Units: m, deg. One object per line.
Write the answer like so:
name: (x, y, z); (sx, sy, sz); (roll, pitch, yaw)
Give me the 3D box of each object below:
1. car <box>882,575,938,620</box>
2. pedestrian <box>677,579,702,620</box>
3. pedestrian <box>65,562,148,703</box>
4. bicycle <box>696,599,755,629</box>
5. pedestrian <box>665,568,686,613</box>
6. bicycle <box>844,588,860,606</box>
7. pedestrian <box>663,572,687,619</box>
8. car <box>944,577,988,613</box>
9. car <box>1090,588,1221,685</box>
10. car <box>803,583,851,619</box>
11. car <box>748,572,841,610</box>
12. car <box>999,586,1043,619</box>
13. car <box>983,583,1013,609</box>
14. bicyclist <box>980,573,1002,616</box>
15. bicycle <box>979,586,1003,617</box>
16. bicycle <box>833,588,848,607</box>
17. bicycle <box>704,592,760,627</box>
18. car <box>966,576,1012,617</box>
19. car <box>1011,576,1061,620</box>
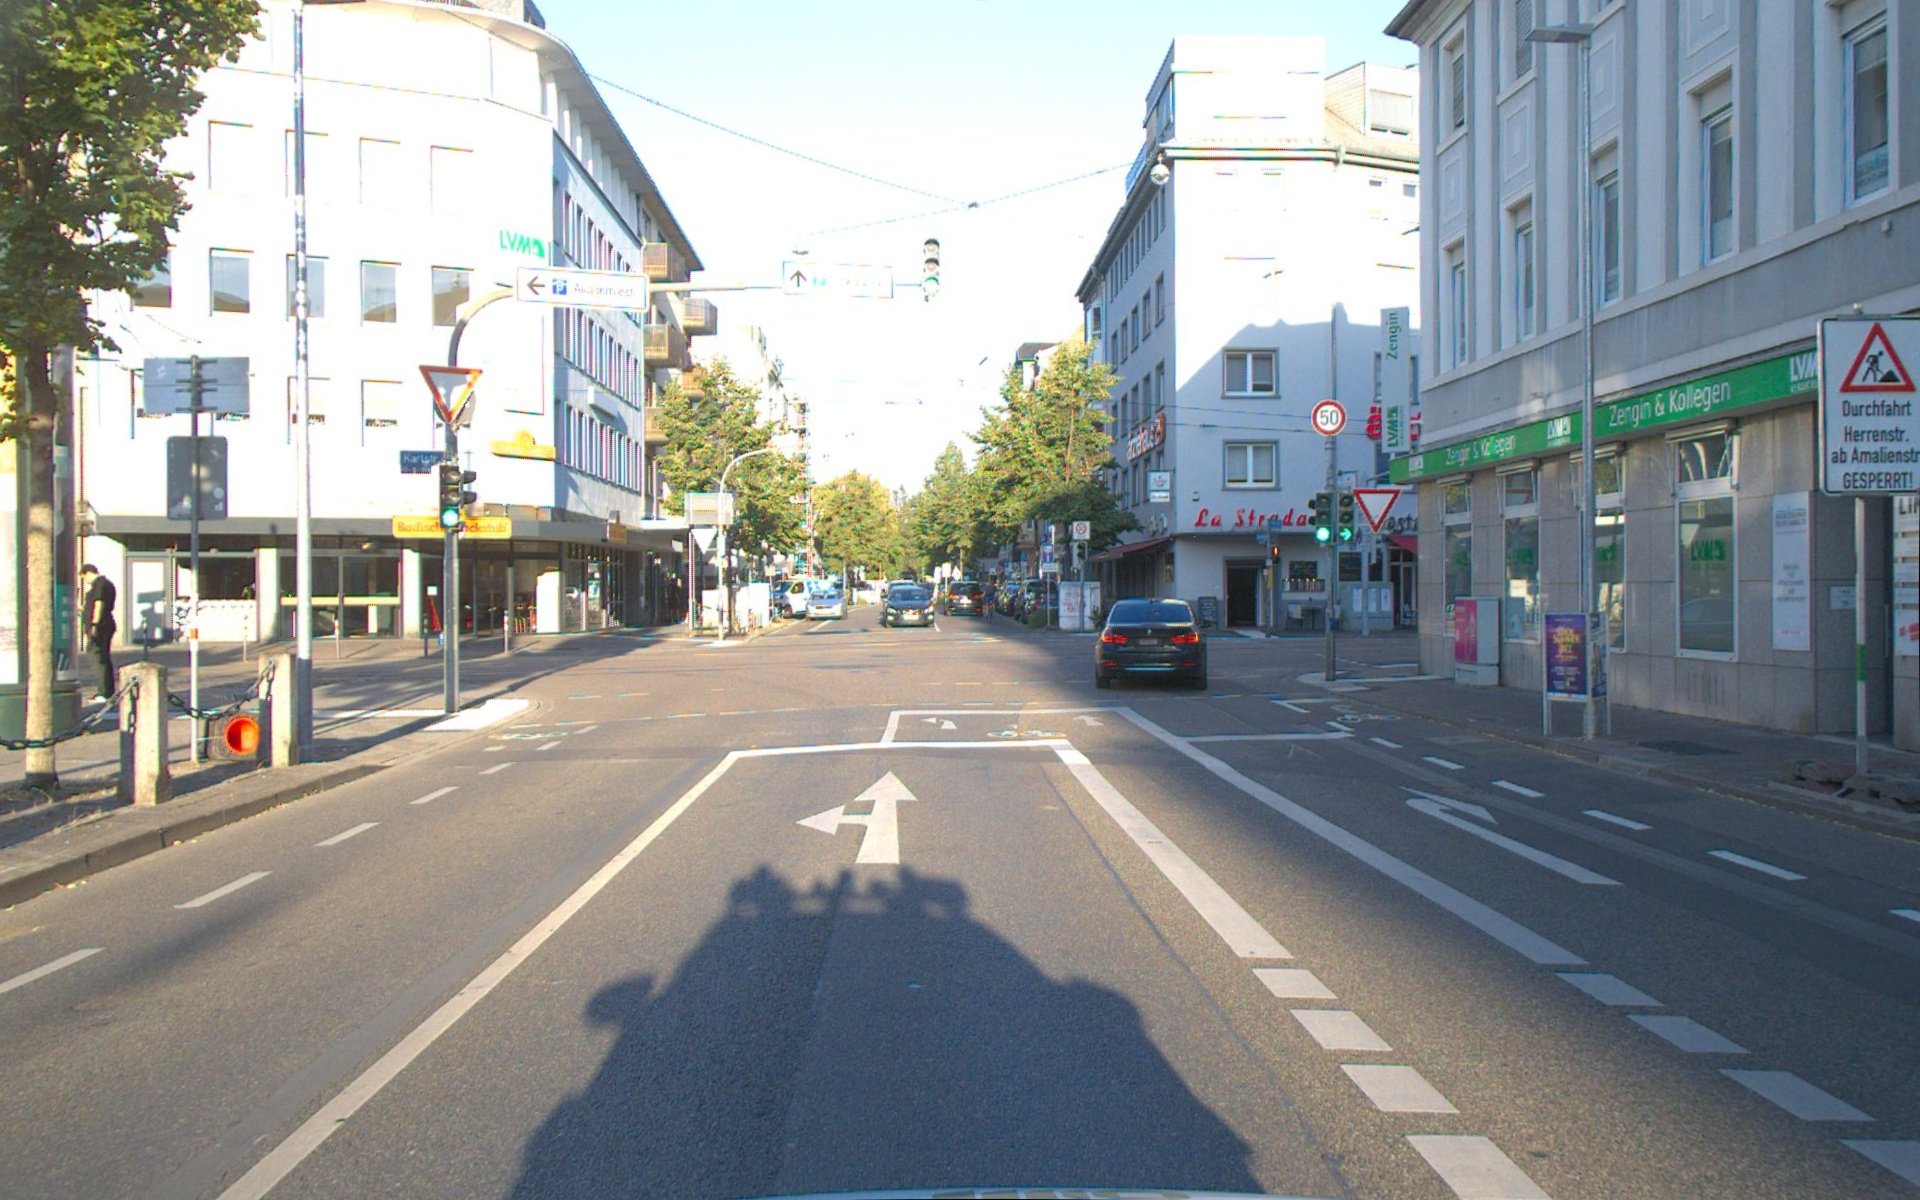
car: (-1.905, -0.129, 61.852); (1.919, 1.574, 4.506); (-1, 1, -4)
pedestrian: (-11.254, -0.017, 68.797); (0.756, 1.705, 0.739); (0, 0, 40)
pedestrian: (-11.317, 0.419, 21.922); (0.895, 1.816, 0.871); (1, -1, -32)
bicycle: (-8.119, 0.482, 57.342); (1.970, 1.009, 0.490); (1, -1, -6)
pedestrian: (-11.941, -0.394, 69.466); (0.725, 1.850, 0.813); (-1, 1, 0)
bicycle: (-8.253, -0.237, 126.077); (0.829, 1.374, 3.179); (0, 0, -10)
pedestrian: (-11.691, -0.191, 67.894); (0.751, 1.879, 0.744); (0, 1, 8)
car: (0.306, -0.223, 78.541); (1.952, 1.629, 4.510); (1, 0, 2)
car: (3.194, 0.563, 27.337); (1.951, 1.445, 4.512); (1, 0, 6)
car: (-6.136, 0.041, 76.727); (1.953, 1.538, 4.508); (-3, 0, -2)
car: (-8.378, -0.446, 83.911); (1.960, 1.860, 4.862); (1, 0, 36)
car: (2.895, 0.103, 79.267); (1.718, 1.445, 4.507); (1, 1, -3)
car: (2.471, -0.250, 108.497); (1.775, 1.697, 4.204); (1, 0, -1)
bicyclist: (1.250, -0.236, 67.365); (0.765, 1.726, 1.006); (-1, 0, -4)
bicycle: (1.251, 0.064, 67.392); (0.765, 1.225, 2.019); (-1, 0, -4)
bicycle: (-9.098, -0.209, 125.912); (0.876, 1.420, 3.158); (0, 0, -10)
bicycle: (-8.392, 0.359, 60.848); (1.969, 1.240, 0.491); (1, -1, -2)
car: (1.174, -0.138, 68.074); (1.689, 1.576, 4.463); (-1, 0, -1)
car: (3.271, -0.116, 71.541); (1.622, 1.809, 4.008); (1, 1, -5)
